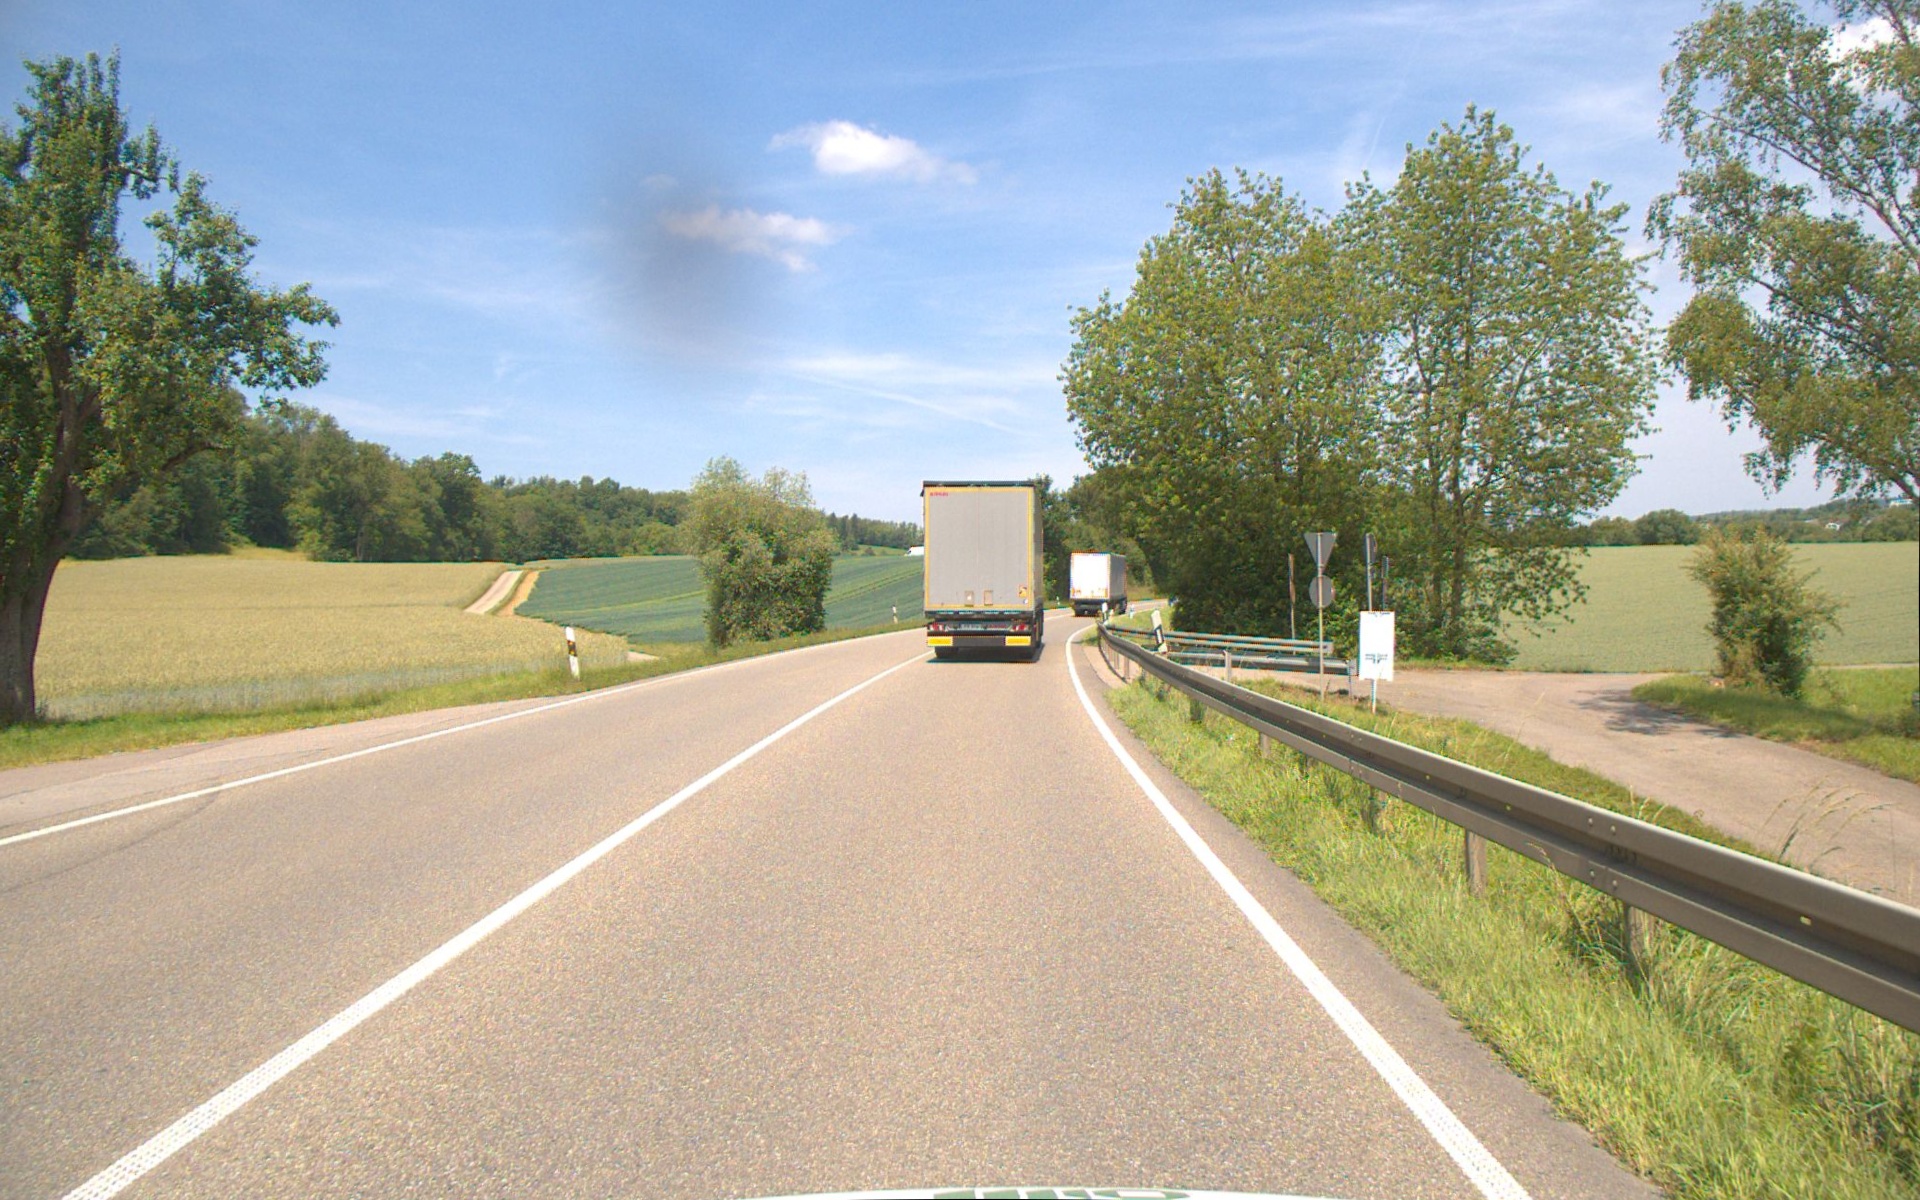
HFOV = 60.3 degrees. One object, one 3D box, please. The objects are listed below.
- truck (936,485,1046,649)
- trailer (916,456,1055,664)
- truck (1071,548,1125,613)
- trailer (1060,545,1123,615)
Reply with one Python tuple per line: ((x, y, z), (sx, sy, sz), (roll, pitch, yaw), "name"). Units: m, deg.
((1.000, -0.936, 49.470), (3.053, 4.573, 6.813), (0, 0, 2), "truck")
((0.781, -0.909, 43.534), (3.053, 4.578, 13.889), (0, 0, 2), "trailer")
((9.740, -1.375, 116.439), (3.293, 4.392, 6.746), (0, 0, 9), "truck")
((8.893, -1.315, 110.297), (3.293, 4.392, 13.876), (0, 0, 8), "trailer")
